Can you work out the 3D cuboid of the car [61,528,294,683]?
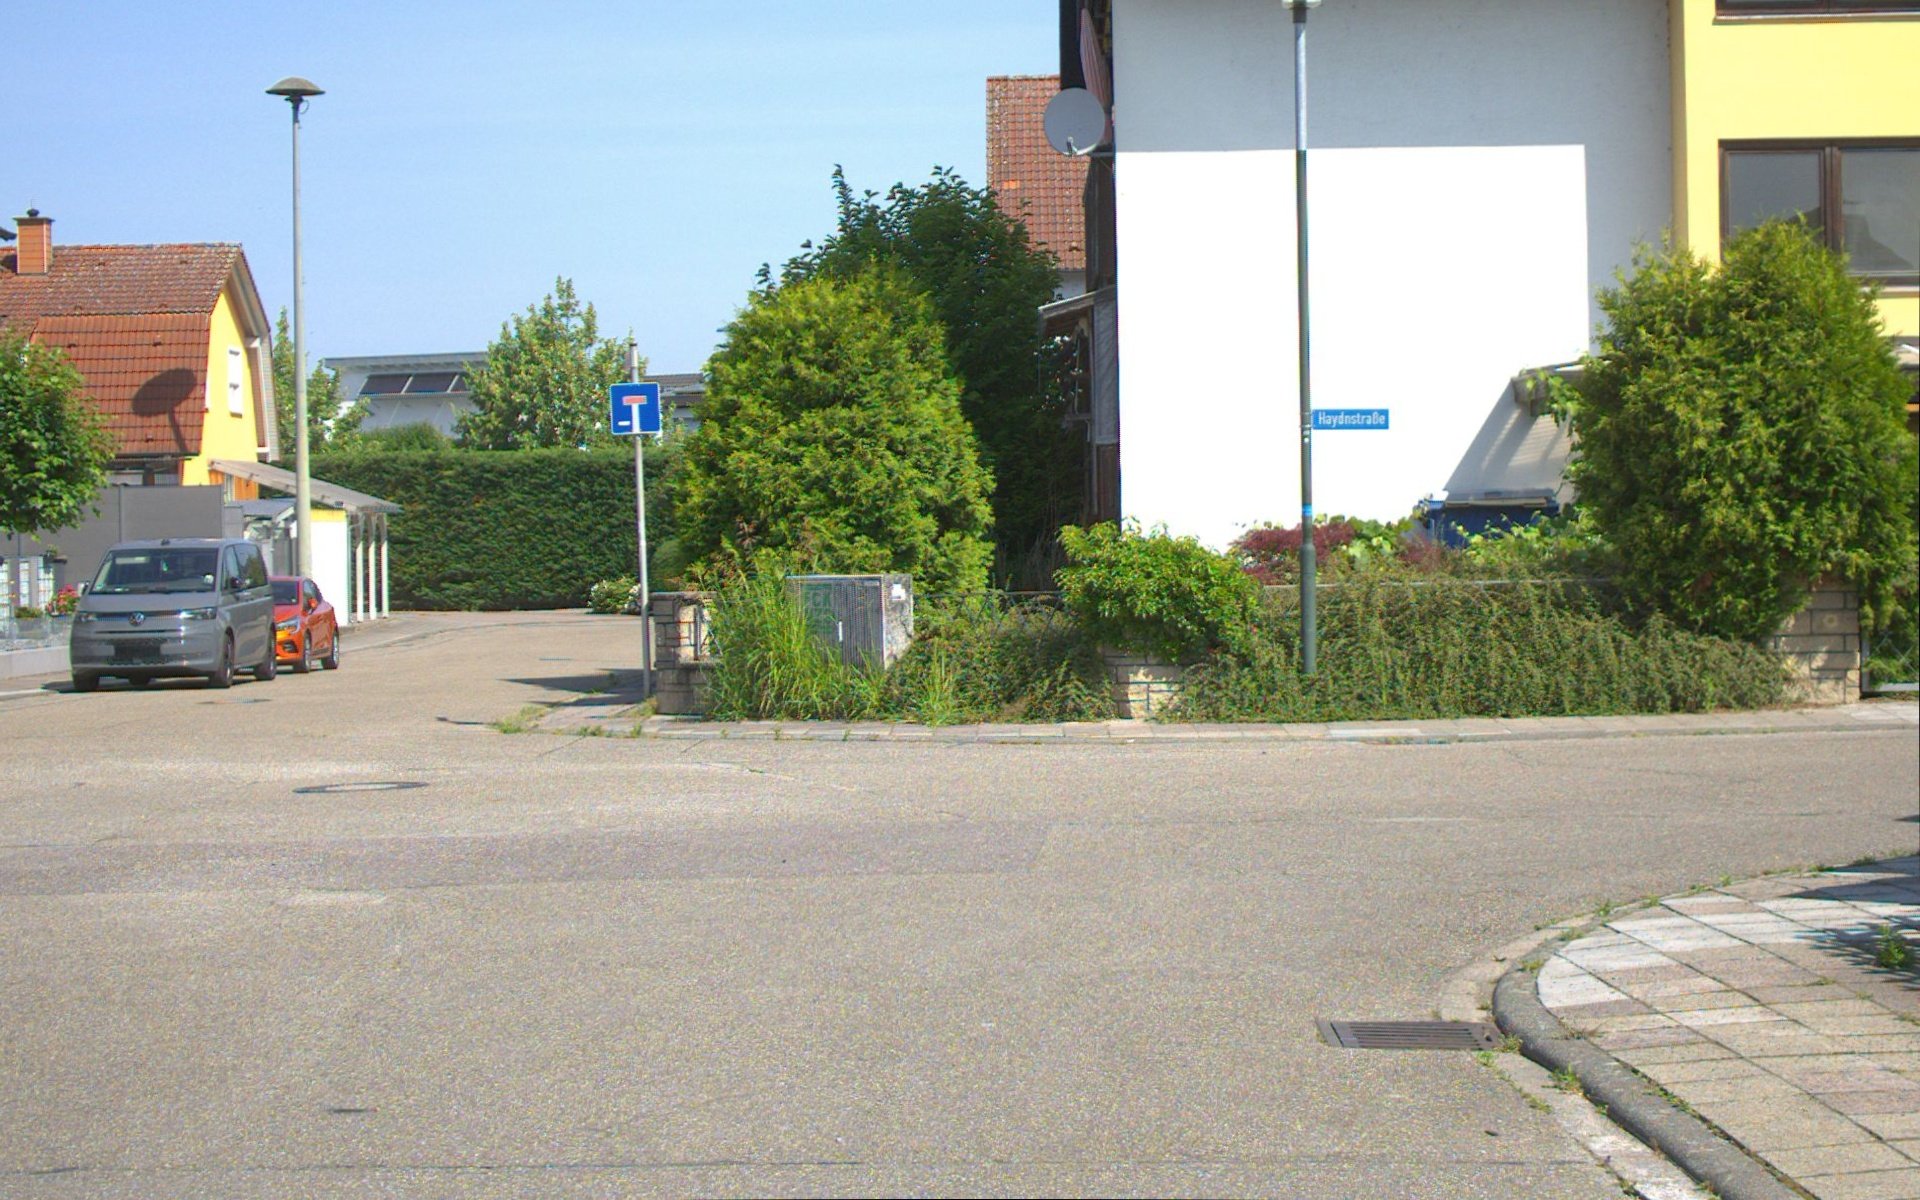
[{"bbox_3d":[-9.978,0.023,44.181,1.901,1.863,4.371,-1,1,1],"label":"car"}]

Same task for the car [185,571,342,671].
[{"bbox_3d":[-10.267,0.283,50.906,1.651,1.360,3.779,-1,1,-2],"label":"car"}]
